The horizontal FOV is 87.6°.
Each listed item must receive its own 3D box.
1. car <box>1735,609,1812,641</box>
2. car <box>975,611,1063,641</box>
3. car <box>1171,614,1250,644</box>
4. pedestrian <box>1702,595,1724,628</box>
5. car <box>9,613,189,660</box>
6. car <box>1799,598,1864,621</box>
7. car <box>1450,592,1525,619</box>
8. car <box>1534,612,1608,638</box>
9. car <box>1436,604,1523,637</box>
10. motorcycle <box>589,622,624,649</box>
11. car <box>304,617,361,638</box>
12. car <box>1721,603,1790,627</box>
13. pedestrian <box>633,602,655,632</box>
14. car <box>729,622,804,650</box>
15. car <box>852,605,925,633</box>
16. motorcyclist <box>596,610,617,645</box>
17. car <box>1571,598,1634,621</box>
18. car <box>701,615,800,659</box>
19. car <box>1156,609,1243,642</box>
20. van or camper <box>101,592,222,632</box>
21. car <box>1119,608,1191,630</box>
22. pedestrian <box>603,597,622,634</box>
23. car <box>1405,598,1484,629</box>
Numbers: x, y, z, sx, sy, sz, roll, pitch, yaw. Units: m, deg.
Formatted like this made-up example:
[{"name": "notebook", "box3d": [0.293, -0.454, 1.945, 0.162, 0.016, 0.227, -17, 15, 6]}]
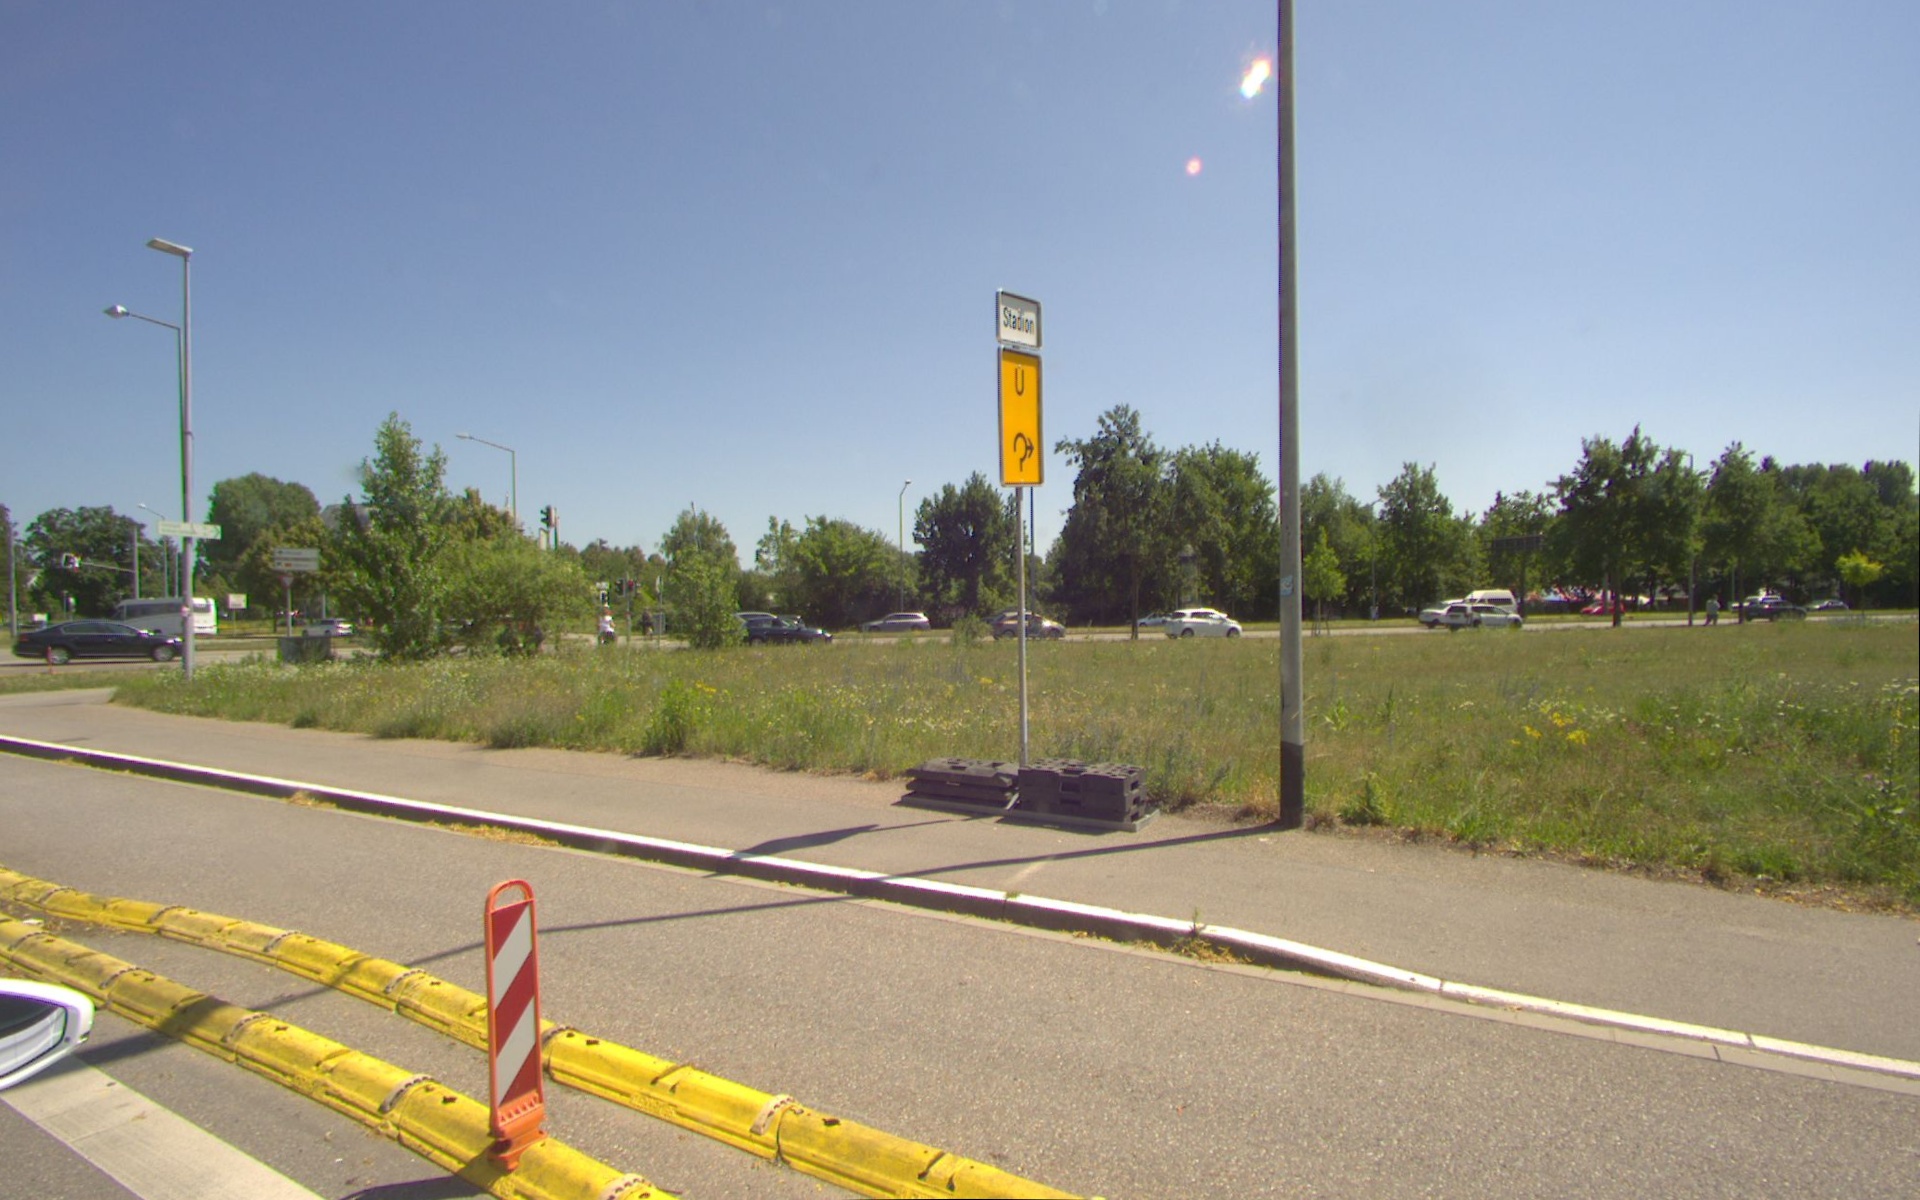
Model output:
[{"name": "car", "box3d": [53.380, 1.613, 65.720, 3.927, 2.040, 1.998, 0, -1, -15]}, {"name": "car", "box3d": [3.012, 1.327, 51.427, 4.187, 1.543, 1.819, 0, -1, -17]}, {"name": "car", "box3d": [17.260, 1.970, 69.036, 4.993, 2.040, 1.997, 0, -1, -15]}, {"name": "pedestrian", "box3d": [36.468, 0.571, 48.505, 0.724, 1.583, 0.497, 0, 0, -18]}, {"name": "car", "box3d": [-28.977, 1.196, 33.798, 1.804, 1.466, 4.492, -1, -2, 44]}, {"name": "car", "box3d": [78.451, 0.879, 90.125, 4.993, 2.040, 1.997, 0, -1, -15]}, {"name": "car", "box3d": [40.231, 0.450, 76.376, 4.993, 2.040, 1.997, 0, -1, -15]}, {"name": "car", "box3d": [39.061, 1.598, 63.997, 3.928, 1.605, 1.837, 0, -1, -15]}, {"name": "car", "box3d": [29.315, 1.159, 56.567, 4.189, 1.839, 1.996, 0, -1, -18]}, {"name": "motorcycle", "box3d": [-13.117, 1.313, 37.185, 0.619, 0.982, 1.709, 0, -1, 3]}, {"name": "car", "box3d": [-44.316, 1.967, 70.723, 3.732, 1.442, 1.651, -1, -1, 24]}, {"name": "car", "box3d": [66.856, 1.266, 84.170, 4.993, 2.040, 1.997, 0, -1, -15]}, {"name": "pedestrian", "box3d": [-16.810, 0.913, 53.290, 0.812, 1.583, 0.789, -1, -1, 39]}, {"name": "car", "box3d": [-12.385, 2.300, 64.089, 4.607, 1.710, 1.735, 0, -1, -13]}, {"name": "car", "box3d": [-4.539, 1.222, 63.214, 4.298, 1.739, 1.998, 0, -1, -13]}, {"name": "motorcyclist", "box3d": [-13.142, 1.023, 37.230, 0.570, 1.306, 0.615, 0, -1, 3]}, {"name": "car", "box3d": [53.728, 0.830, 83.750, 4.522, 1.874, 1.997, 0, -1, -16]}, {"name": "car", "box3d": [-9.105, 1.583, 43.481, 3.936, 1.839, 1.993, 0, -1, -24]}, {"name": "car", "box3d": [12.069, 1.275, 50.571, 3.939, 1.641, 1.678, 0, -1, -14]}, {"name": "van or camper", "box3d": [-56.485, 0.872, 70.877, 7.369, 2.728, 2.513, 0, -1, 10]}, {"name": "car", "box3d": [13.958, 1.358, 71.895, 4.695, 1.590, 1.997, 0, -1, -15]}, {"name": "pedestrian", "box3d": [-18.343, 0.826, 52.856, 0.726, 1.894, 0.648, -1, -1, 34]}, {"name": "car", "box3d": [29.997, 0.849, 61.987, 4.189, 1.839, 1.996, 0, -1, -18]}]
